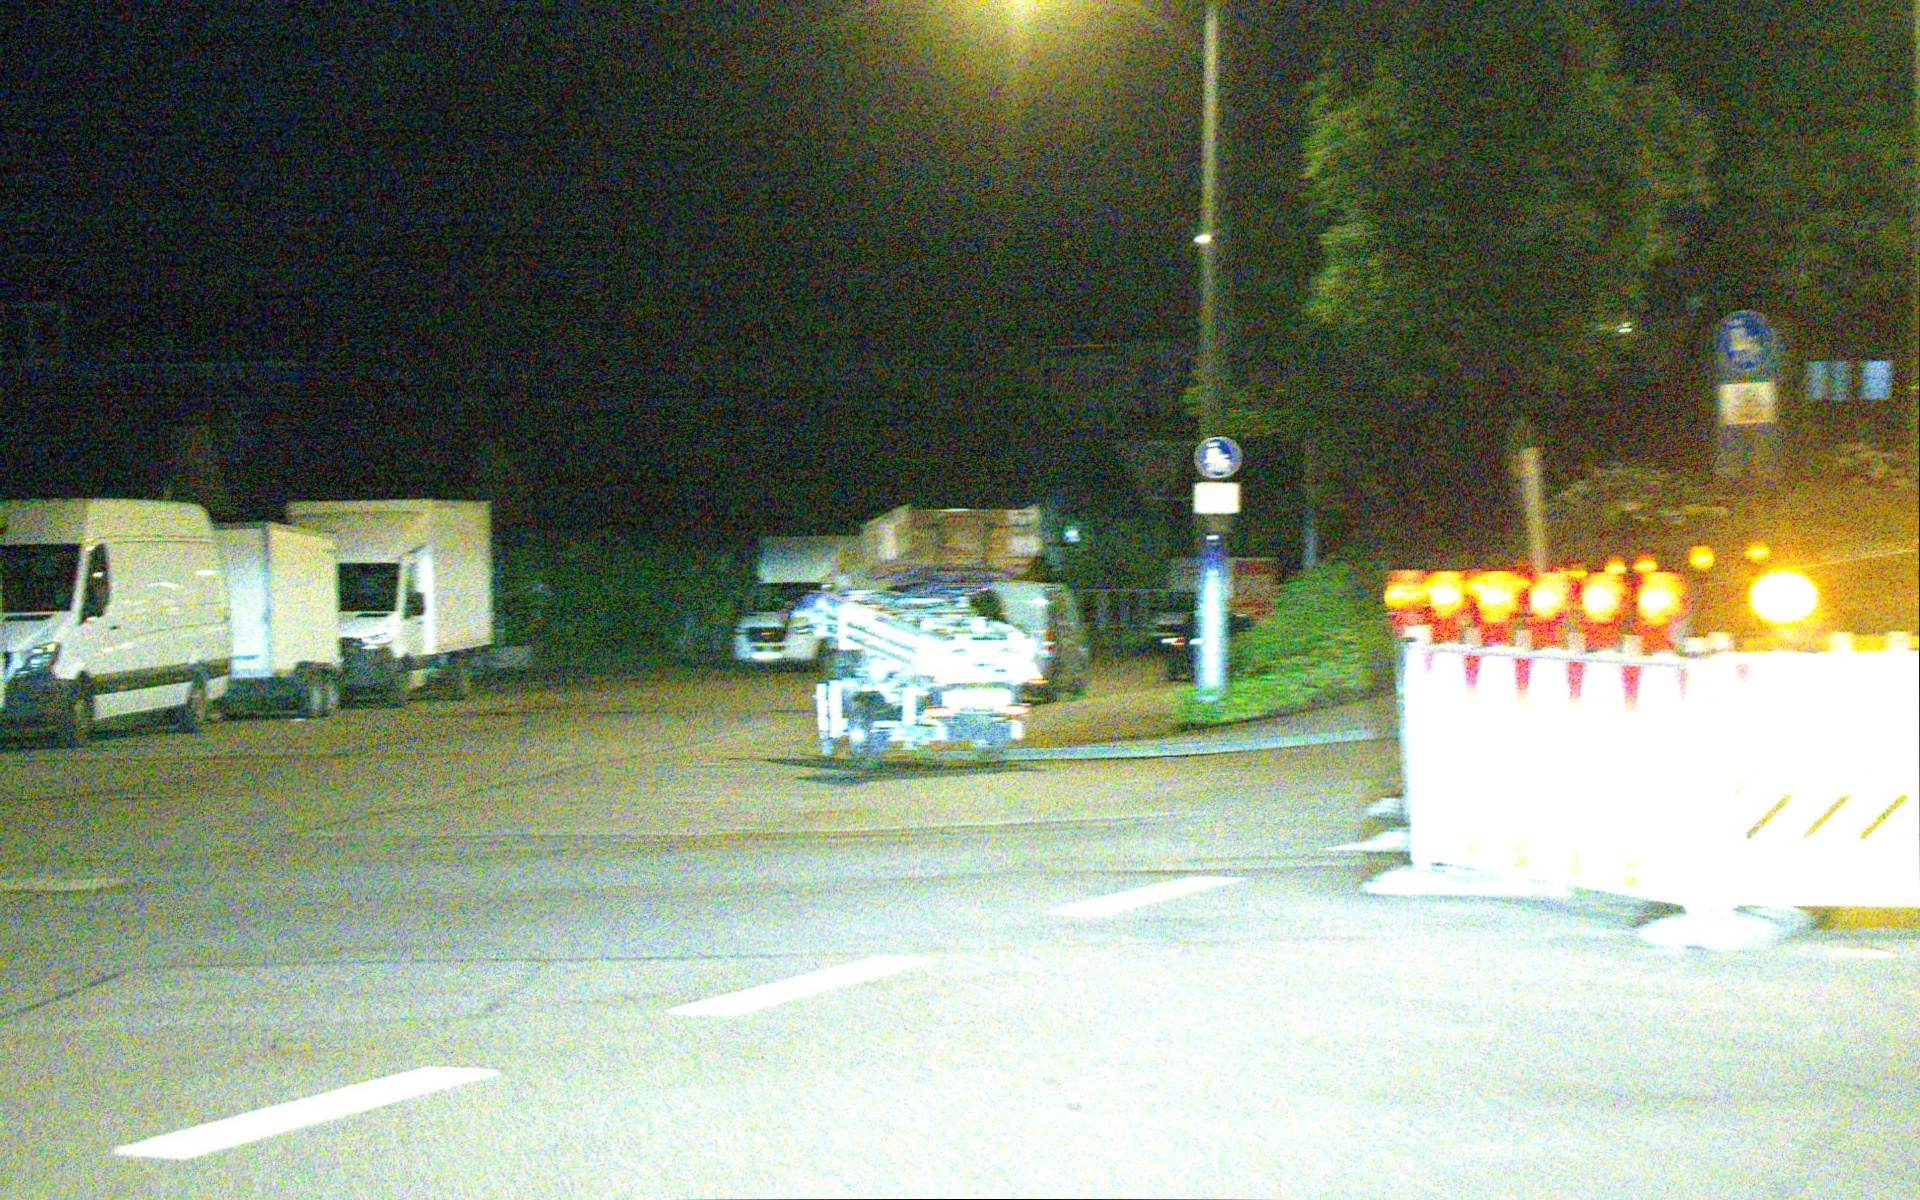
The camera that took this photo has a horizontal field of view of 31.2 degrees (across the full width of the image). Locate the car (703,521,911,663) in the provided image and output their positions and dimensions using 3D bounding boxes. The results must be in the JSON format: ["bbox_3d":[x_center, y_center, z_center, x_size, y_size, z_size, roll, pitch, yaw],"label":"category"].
[{"bbox_3d":[-3.512,-0.201,80.974,2.521,3.160,7.131,-1,0,18],"label":"car"}]

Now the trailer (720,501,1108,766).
[{"bbox_3d":[-0.532,0.285,30.755,1.559,2.153,5.222,-1,0,-23],"label":"trailer"}]

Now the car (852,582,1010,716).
[{"bbox_3d":[-0.340,0.633,45.760,1.721,1.655,3.999,1,0,5],"label":"car"}]

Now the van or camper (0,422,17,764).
[{"bbox_3d":[-10.229,-0.020,27.810,2.519,3.084,7.444,-1,0,5],"label":"van or camper"}]

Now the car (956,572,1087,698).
[{"bbox_3d":[0.985,0.532,52.881,1.721,1.815,3.999,1,0,5],"label":"car"}]

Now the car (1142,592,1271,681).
[{"bbox_3d":[5.299,0.789,73.599,1.722,1.815,3.996,1,0,19],"label":"car"}]

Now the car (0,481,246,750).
[{"bbox_3d":[-9.850,0.149,37.004,2.519,2.597,7.090,-1,0,3],"label":"car"}]

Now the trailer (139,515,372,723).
[{"bbox_3d":[-8.981,0.215,44.112,1.994,2.519,3.567,-1,0,4],"label":"trailer"}]

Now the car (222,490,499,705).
[{"bbox_3d":[-8.773,-0.053,51.109,2.519,2.917,7.201,-1,0,2],"label":"car"}]

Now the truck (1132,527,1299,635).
[{"bbox_3d":[8.535,-0.646,113.670,1.997,3.392,8.965,2,2,28],"label":"truck"}]

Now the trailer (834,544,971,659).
[{"bbox_3d":[-1.419,-0.001,87.089,1.995,2.803,4.698,0,1,19],"label":"trailer"}]
